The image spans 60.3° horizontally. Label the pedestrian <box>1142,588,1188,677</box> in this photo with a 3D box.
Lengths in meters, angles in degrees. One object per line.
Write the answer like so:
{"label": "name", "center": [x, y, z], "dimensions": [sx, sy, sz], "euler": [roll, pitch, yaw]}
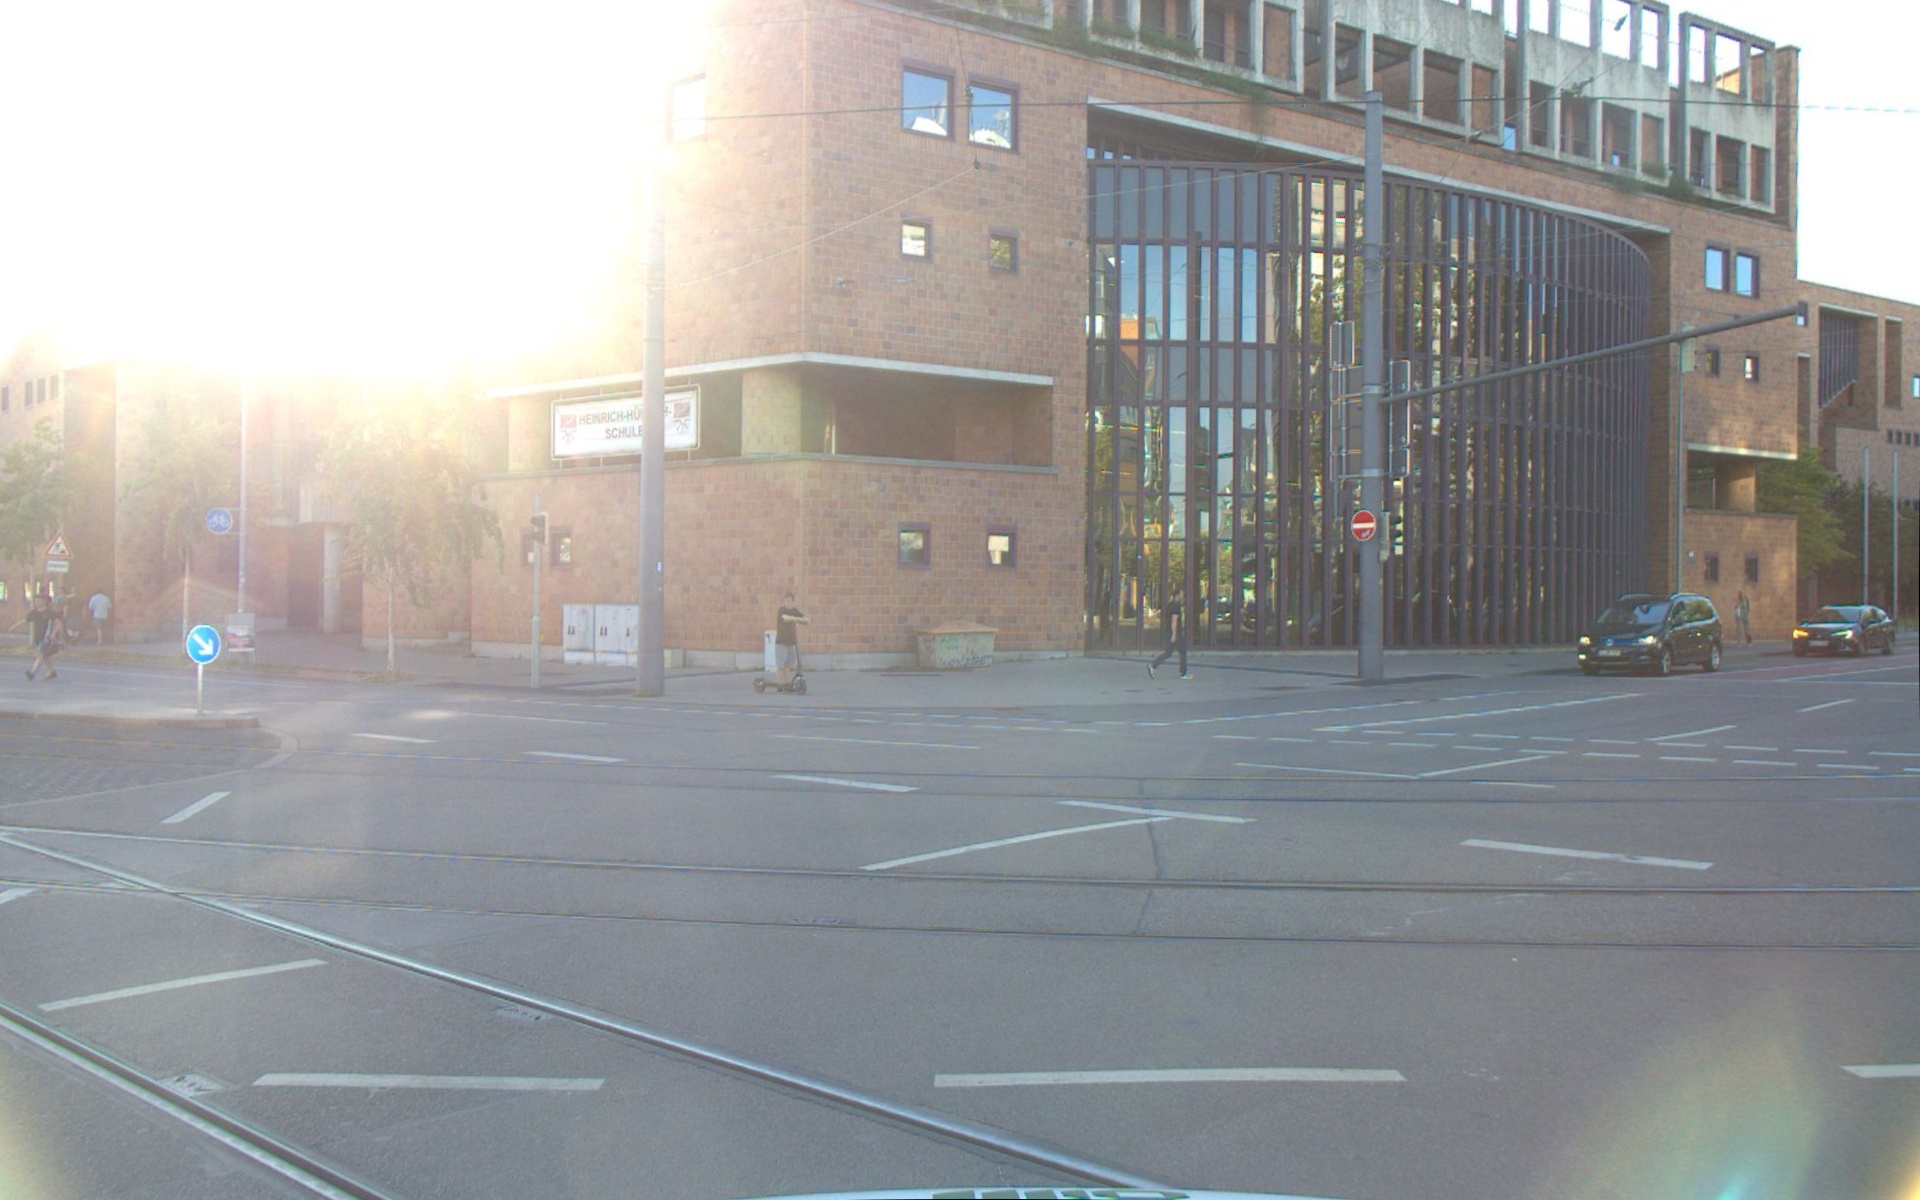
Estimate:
{"label": "pedestrian", "center": [4.075, 0.632, 32.923], "dimensions": [0.805, 1.746, 0.664], "euler": [0, 0, -5]}

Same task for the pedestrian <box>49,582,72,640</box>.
{"label": "pedestrian", "center": [-28.095, 0.334, 51.648], "dimensions": [0.415, 1.787, 0.534], "euler": [0, 0, 44]}

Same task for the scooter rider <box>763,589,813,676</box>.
{"label": "scooter rider", "center": [-2.981, 0.560, 28.615], "dimensions": [0.707, 1.486, 0.506], "euler": [0, 0, 35]}

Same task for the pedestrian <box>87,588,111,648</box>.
{"label": "pedestrian", "center": [-26.153, 0.536, 50.240], "dimensions": [0.532, 1.787, 0.686], "euler": [0, 0, -37]}

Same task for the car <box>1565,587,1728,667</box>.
{"label": "car", "center": [15.255, 0.567, 36.659], "dimensions": [1.808, 1.683, 4.469], "euler": [-1, -1, 44]}

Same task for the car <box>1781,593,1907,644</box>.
{"label": "car", "center": [25.243, 0.509, 47.171], "dimensions": [3.964, 1.400, 1.894], "euler": [0, 0, -41]}

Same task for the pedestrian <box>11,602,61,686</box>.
{"label": "pedestrian", "center": [-17.608, 0.819, 31.525], "dimensions": [0.708, 1.565, 0.839], "euler": [0, 0, -39]}

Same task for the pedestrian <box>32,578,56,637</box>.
{"label": "pedestrian", "center": [-28.113, 0.237, 50.768], "dimensions": [0.456, 1.787, 0.535], "euler": [0, 0, 41]}

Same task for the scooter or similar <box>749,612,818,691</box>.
{"label": "scooter or similar", "center": [-3.061, 0.877, 28.667], "dimensions": [1.109, 1.341, 0.527], "euler": [0, 0, 34]}

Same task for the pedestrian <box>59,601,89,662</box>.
{"label": "pedestrian", "center": [-26.439, 0.930, 49.361], "dimensions": [0.726, 1.787, 0.687], "euler": [0, 0, -35]}

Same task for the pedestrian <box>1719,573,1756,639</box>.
{"label": "pedestrian", "center": [24.330, 0.187, 51.748], "dimensions": [0.883, 2.049, 0.753], "euler": [0, 0, 42]}
